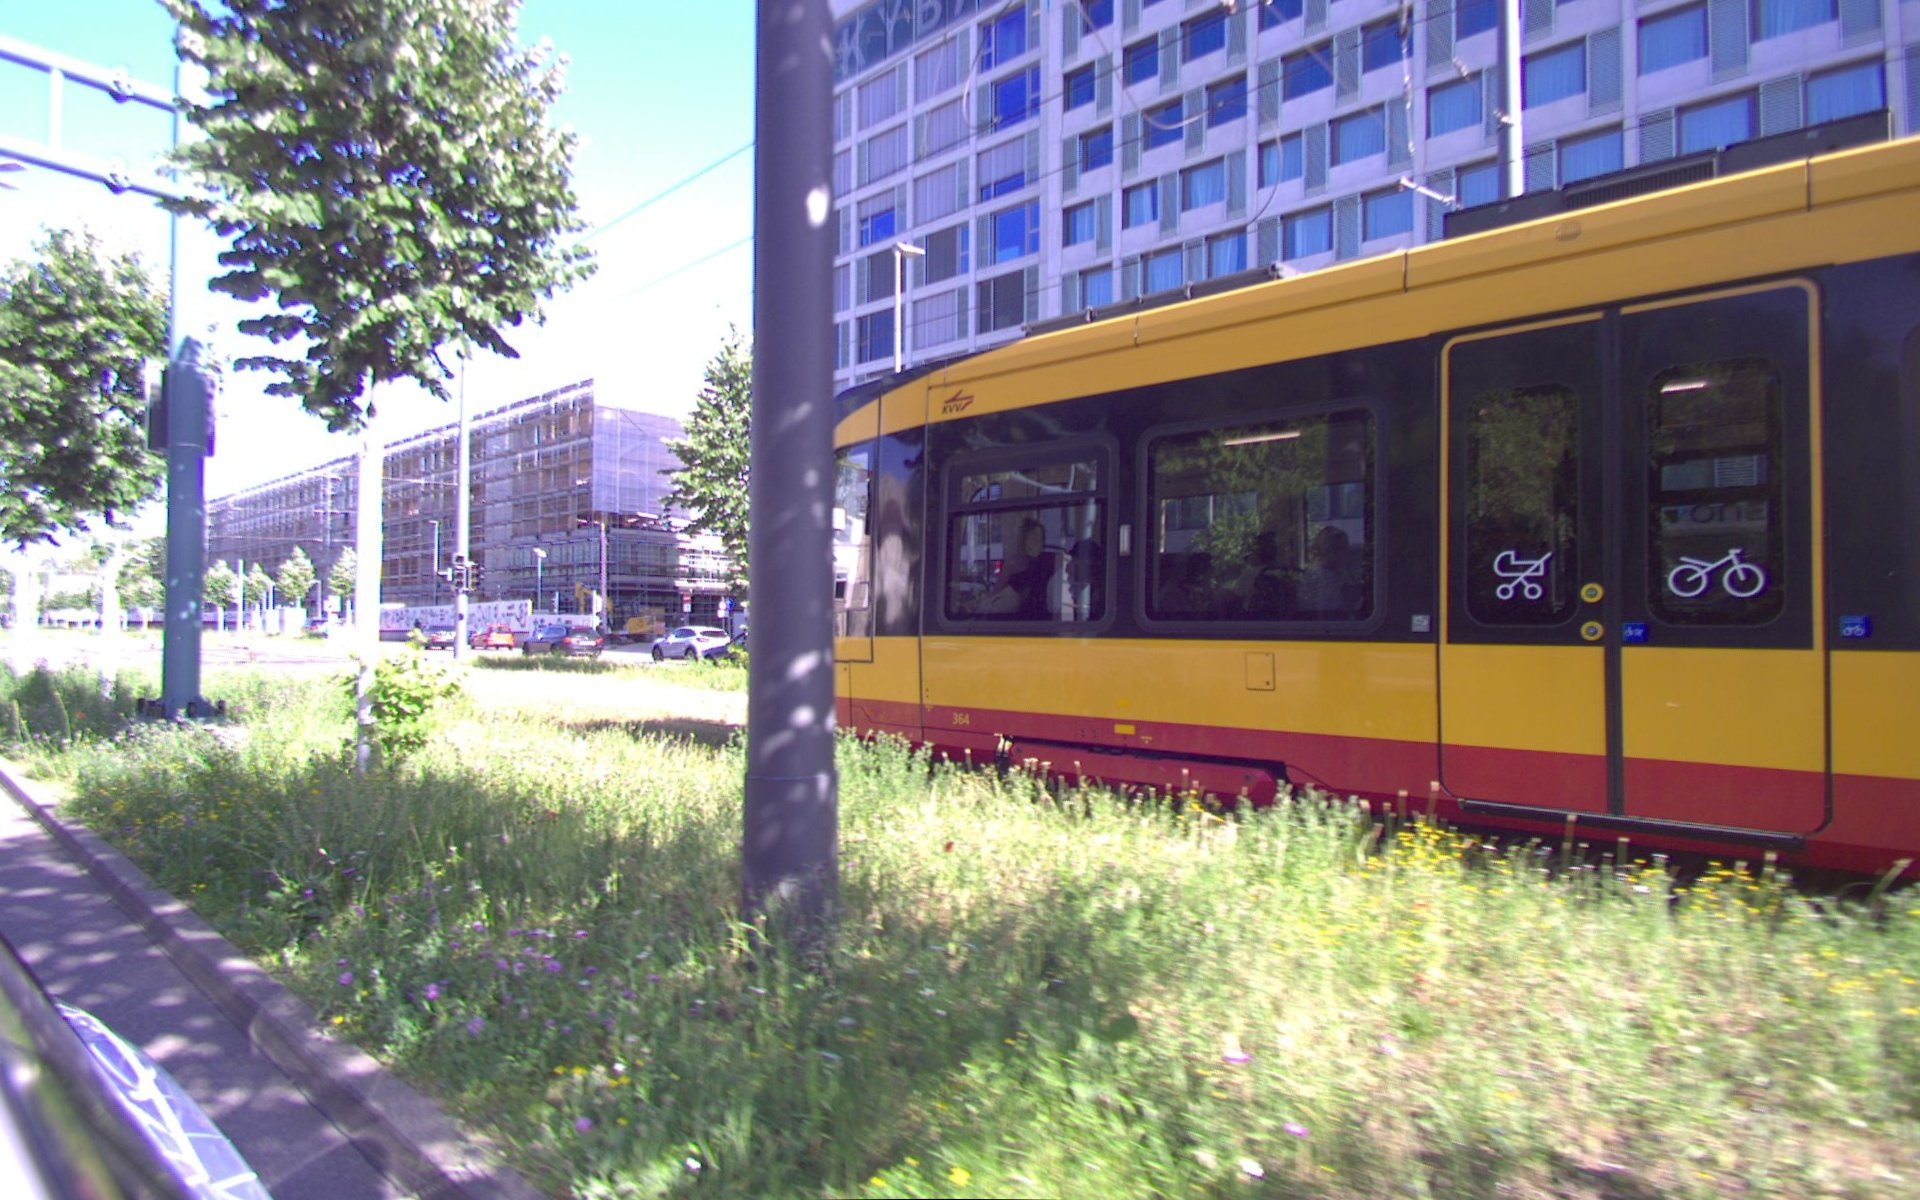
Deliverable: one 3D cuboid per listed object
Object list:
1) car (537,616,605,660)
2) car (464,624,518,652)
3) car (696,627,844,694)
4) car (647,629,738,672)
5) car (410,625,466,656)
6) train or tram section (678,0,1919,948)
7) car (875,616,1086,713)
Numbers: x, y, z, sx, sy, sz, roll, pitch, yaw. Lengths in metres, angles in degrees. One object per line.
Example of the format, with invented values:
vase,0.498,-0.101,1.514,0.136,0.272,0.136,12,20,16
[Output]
car,-16.169,1.521,41.958,1.749,1.686,3.899,0,-1,-35
car,-27.561,2.201,59.418,1.861,1.586,4.006,0,-1,-41
car,-5.020,1.511,26.486,3.998,1.564,1.707,-1,-1,42
car,-10.600,1.941,39.968,1.718,1.558,4.002,0,-1,-45
car,-28.874,2.184,55.916,1.861,1.586,4.006,0,-1,-41
train or tram section,3.471,-0.523,5.251,14.142,3.697,1.973,-1,-1,41
car,0.357,1.266,21.497,4.285,1.833,1.972,-1,-1,43
